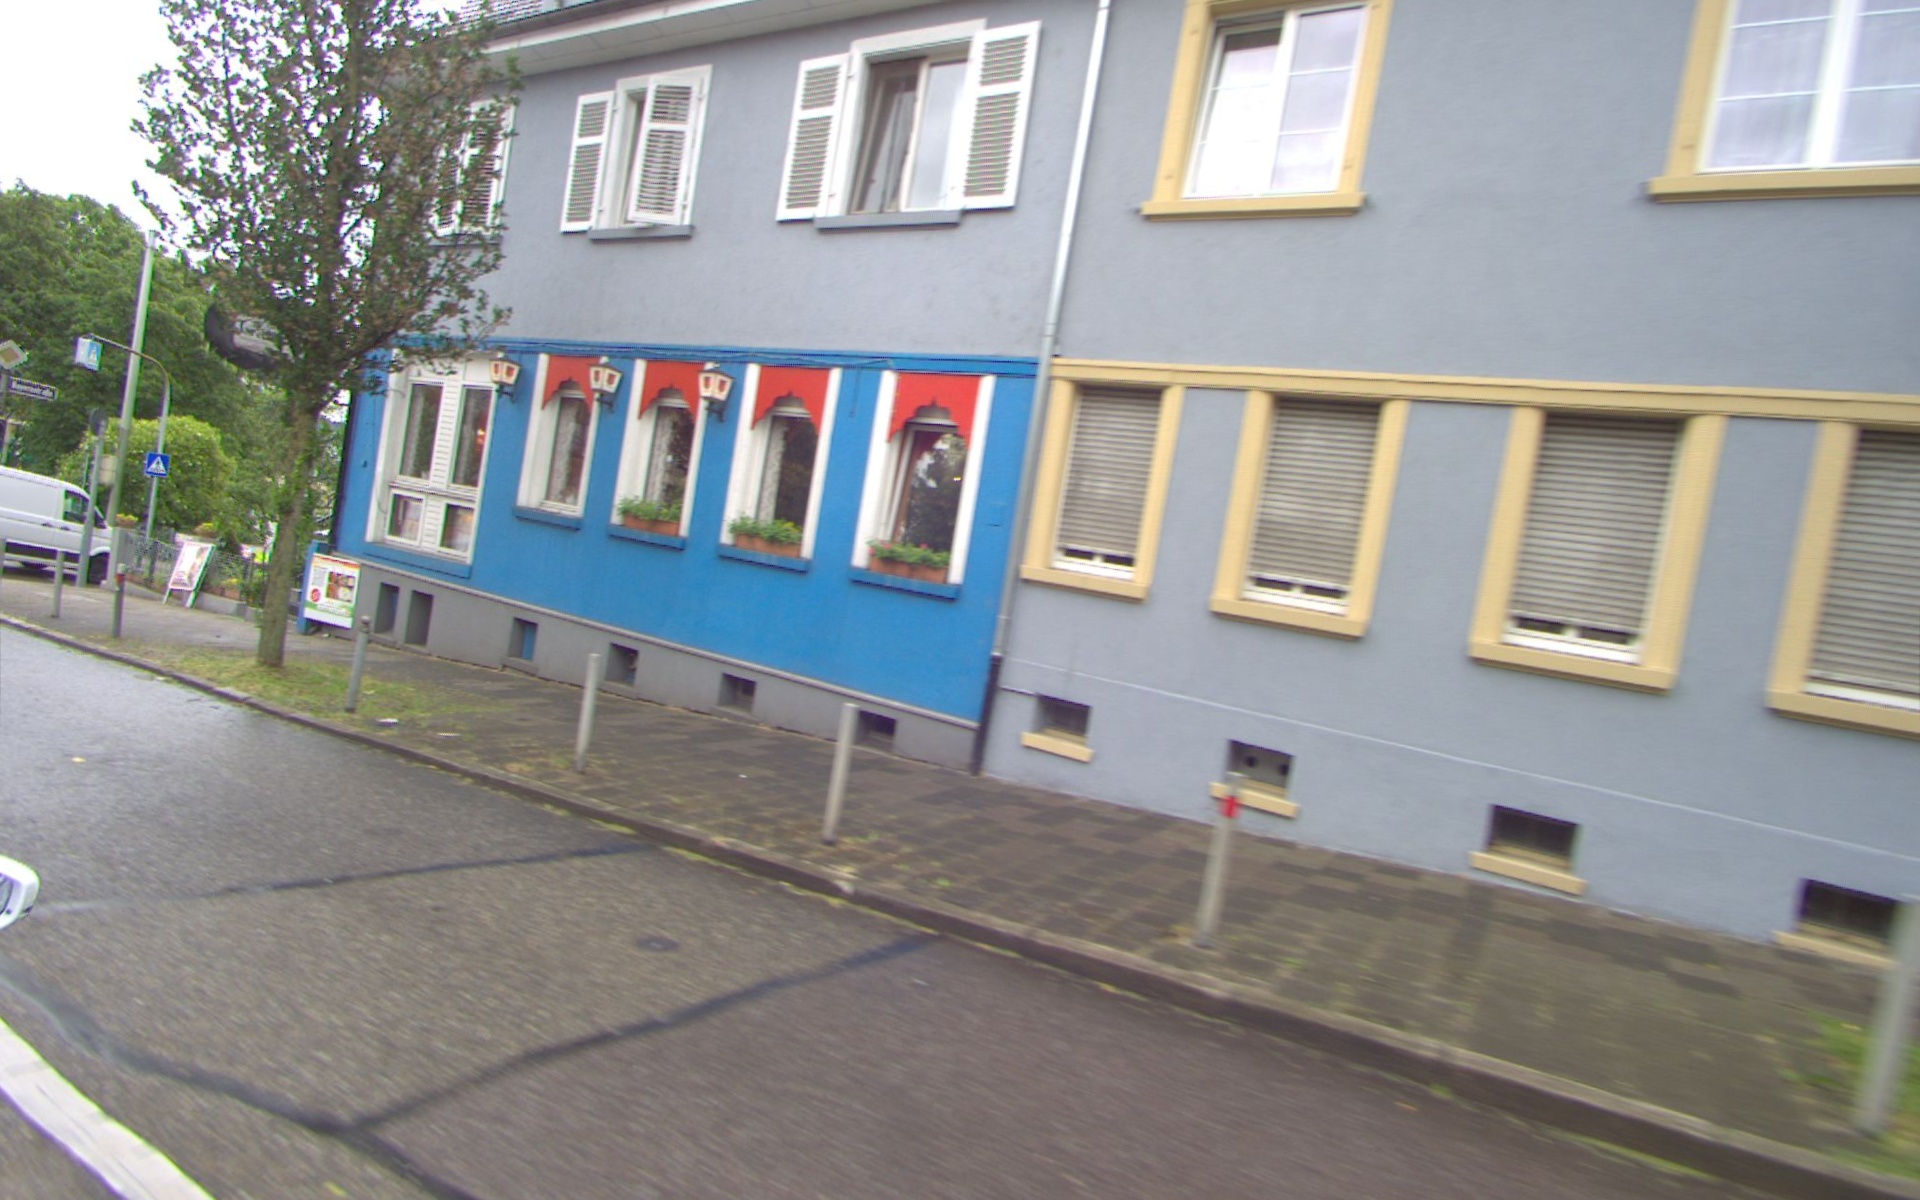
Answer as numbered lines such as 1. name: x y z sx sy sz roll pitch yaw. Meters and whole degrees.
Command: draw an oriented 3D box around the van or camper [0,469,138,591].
1. van or camper: -22.104 -1.849 22.685 2.073 2.347 5.430 12 -5 3
